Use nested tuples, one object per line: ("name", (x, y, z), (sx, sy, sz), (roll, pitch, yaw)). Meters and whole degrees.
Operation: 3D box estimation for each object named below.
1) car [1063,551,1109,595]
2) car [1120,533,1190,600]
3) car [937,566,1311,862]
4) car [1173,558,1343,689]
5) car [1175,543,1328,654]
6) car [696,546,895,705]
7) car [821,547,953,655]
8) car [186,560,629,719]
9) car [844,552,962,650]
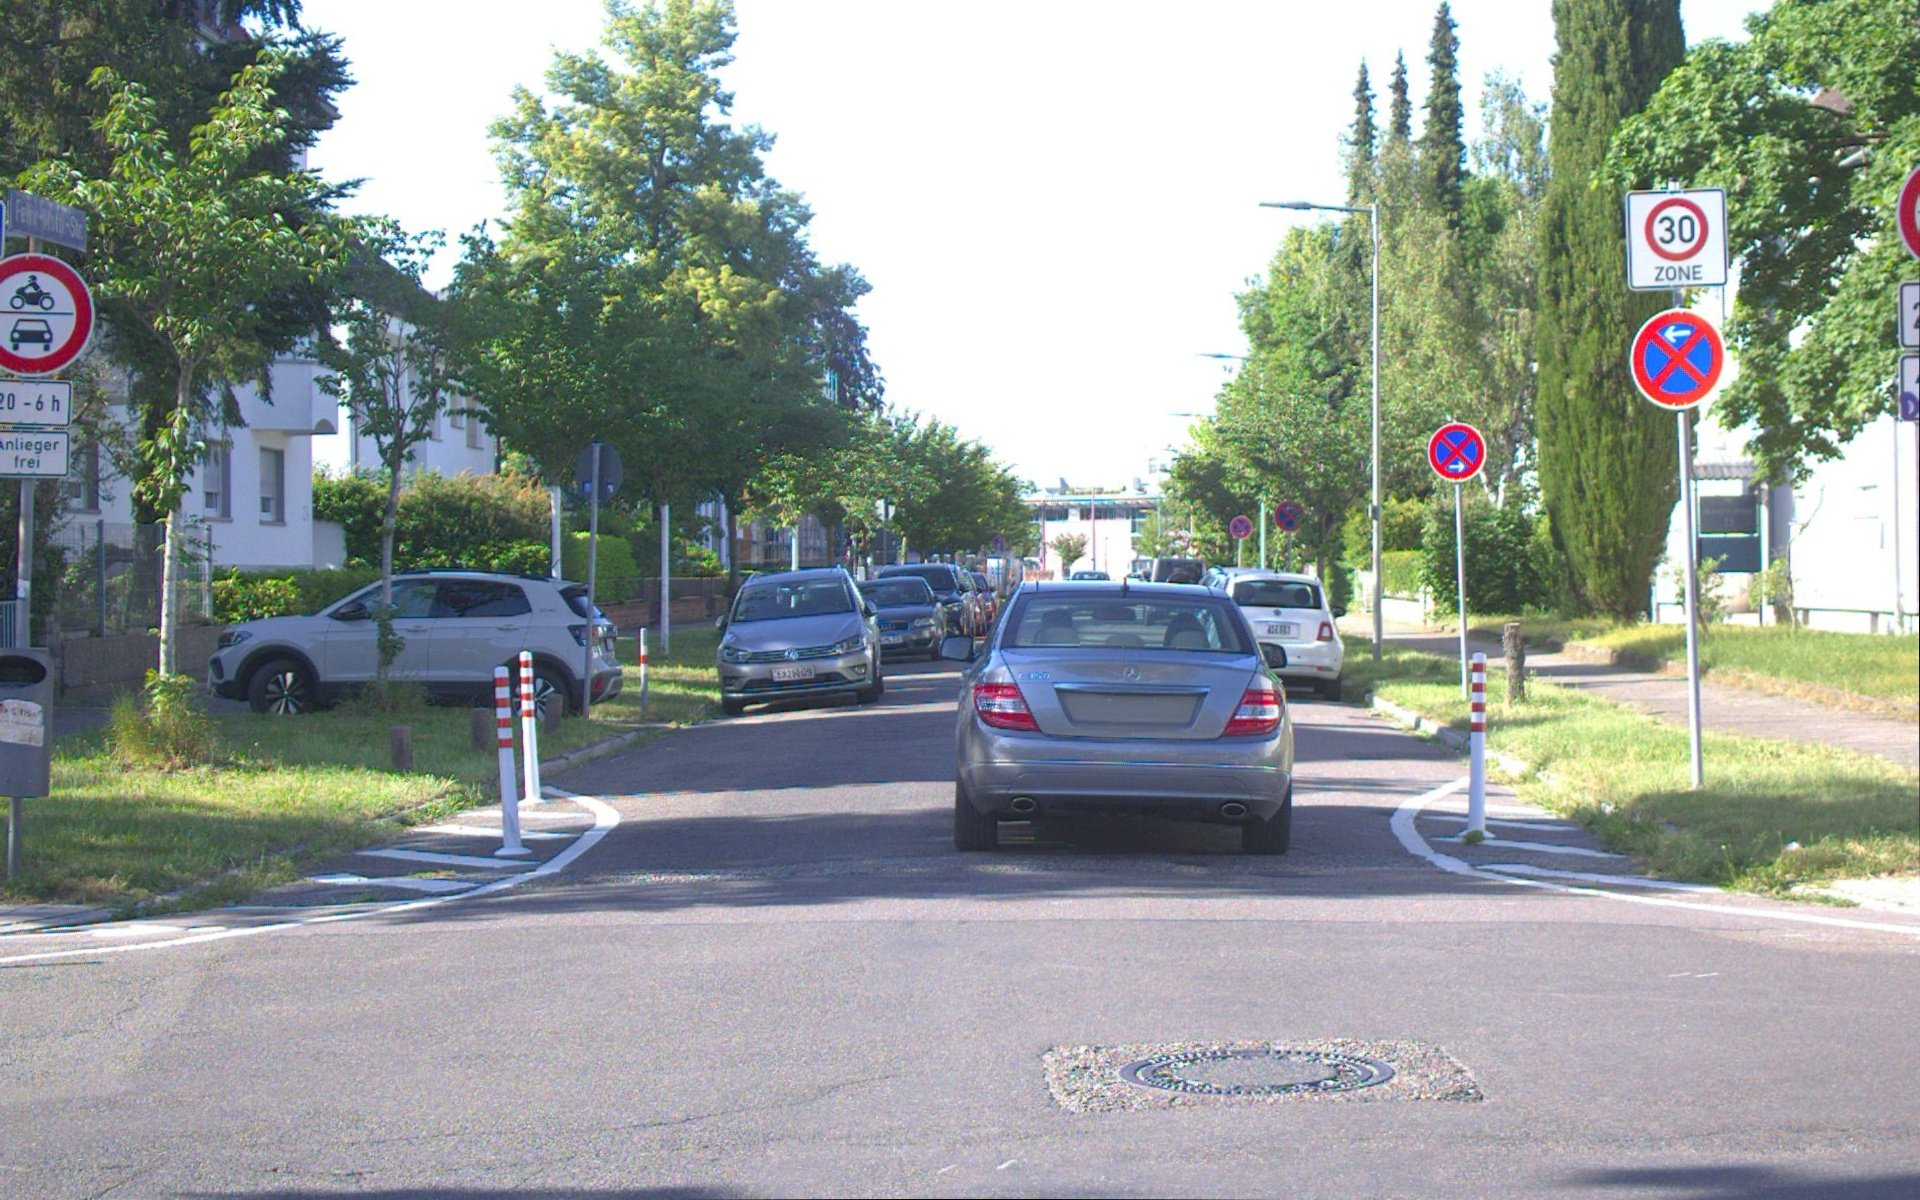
("car", (4.762, -1.026, 130.066), (1.597, 1.604, 3.644), (-1, 1, 0))
("car", (5.507, -0.958, 97.463), (1.855, 1.835, 4.000), (-1, 1, 2))
("car", (0.921, 0.537, 18.907), (1.836, 1.436, 4.000), (0, 1, 3))
("car", (3.577, 0.248, 41.773), (1.733, 1.475, 3.725), (-1, 1, 0))
("car", (4.397, -0.056, 52.424), (1.993, 1.604, 4.000), (-1, 1, 0))
("car", (-1.841, 0.250, 39.695), (1.993, 1.604, 4.000), (-4, 1, 0))
("car", (-1.184, -0.012, 57.491), (1.993, 1.604, 4.000), (-4, 1, 0))
("car", (-5.526, 0.377, 34.748), (4.192, 1.558, 1.842), (0, 1, 0))
("car", (-1.018, -0.015, 63.283), (1.993, 1.604, 4.000), (-4, 1, 0))
